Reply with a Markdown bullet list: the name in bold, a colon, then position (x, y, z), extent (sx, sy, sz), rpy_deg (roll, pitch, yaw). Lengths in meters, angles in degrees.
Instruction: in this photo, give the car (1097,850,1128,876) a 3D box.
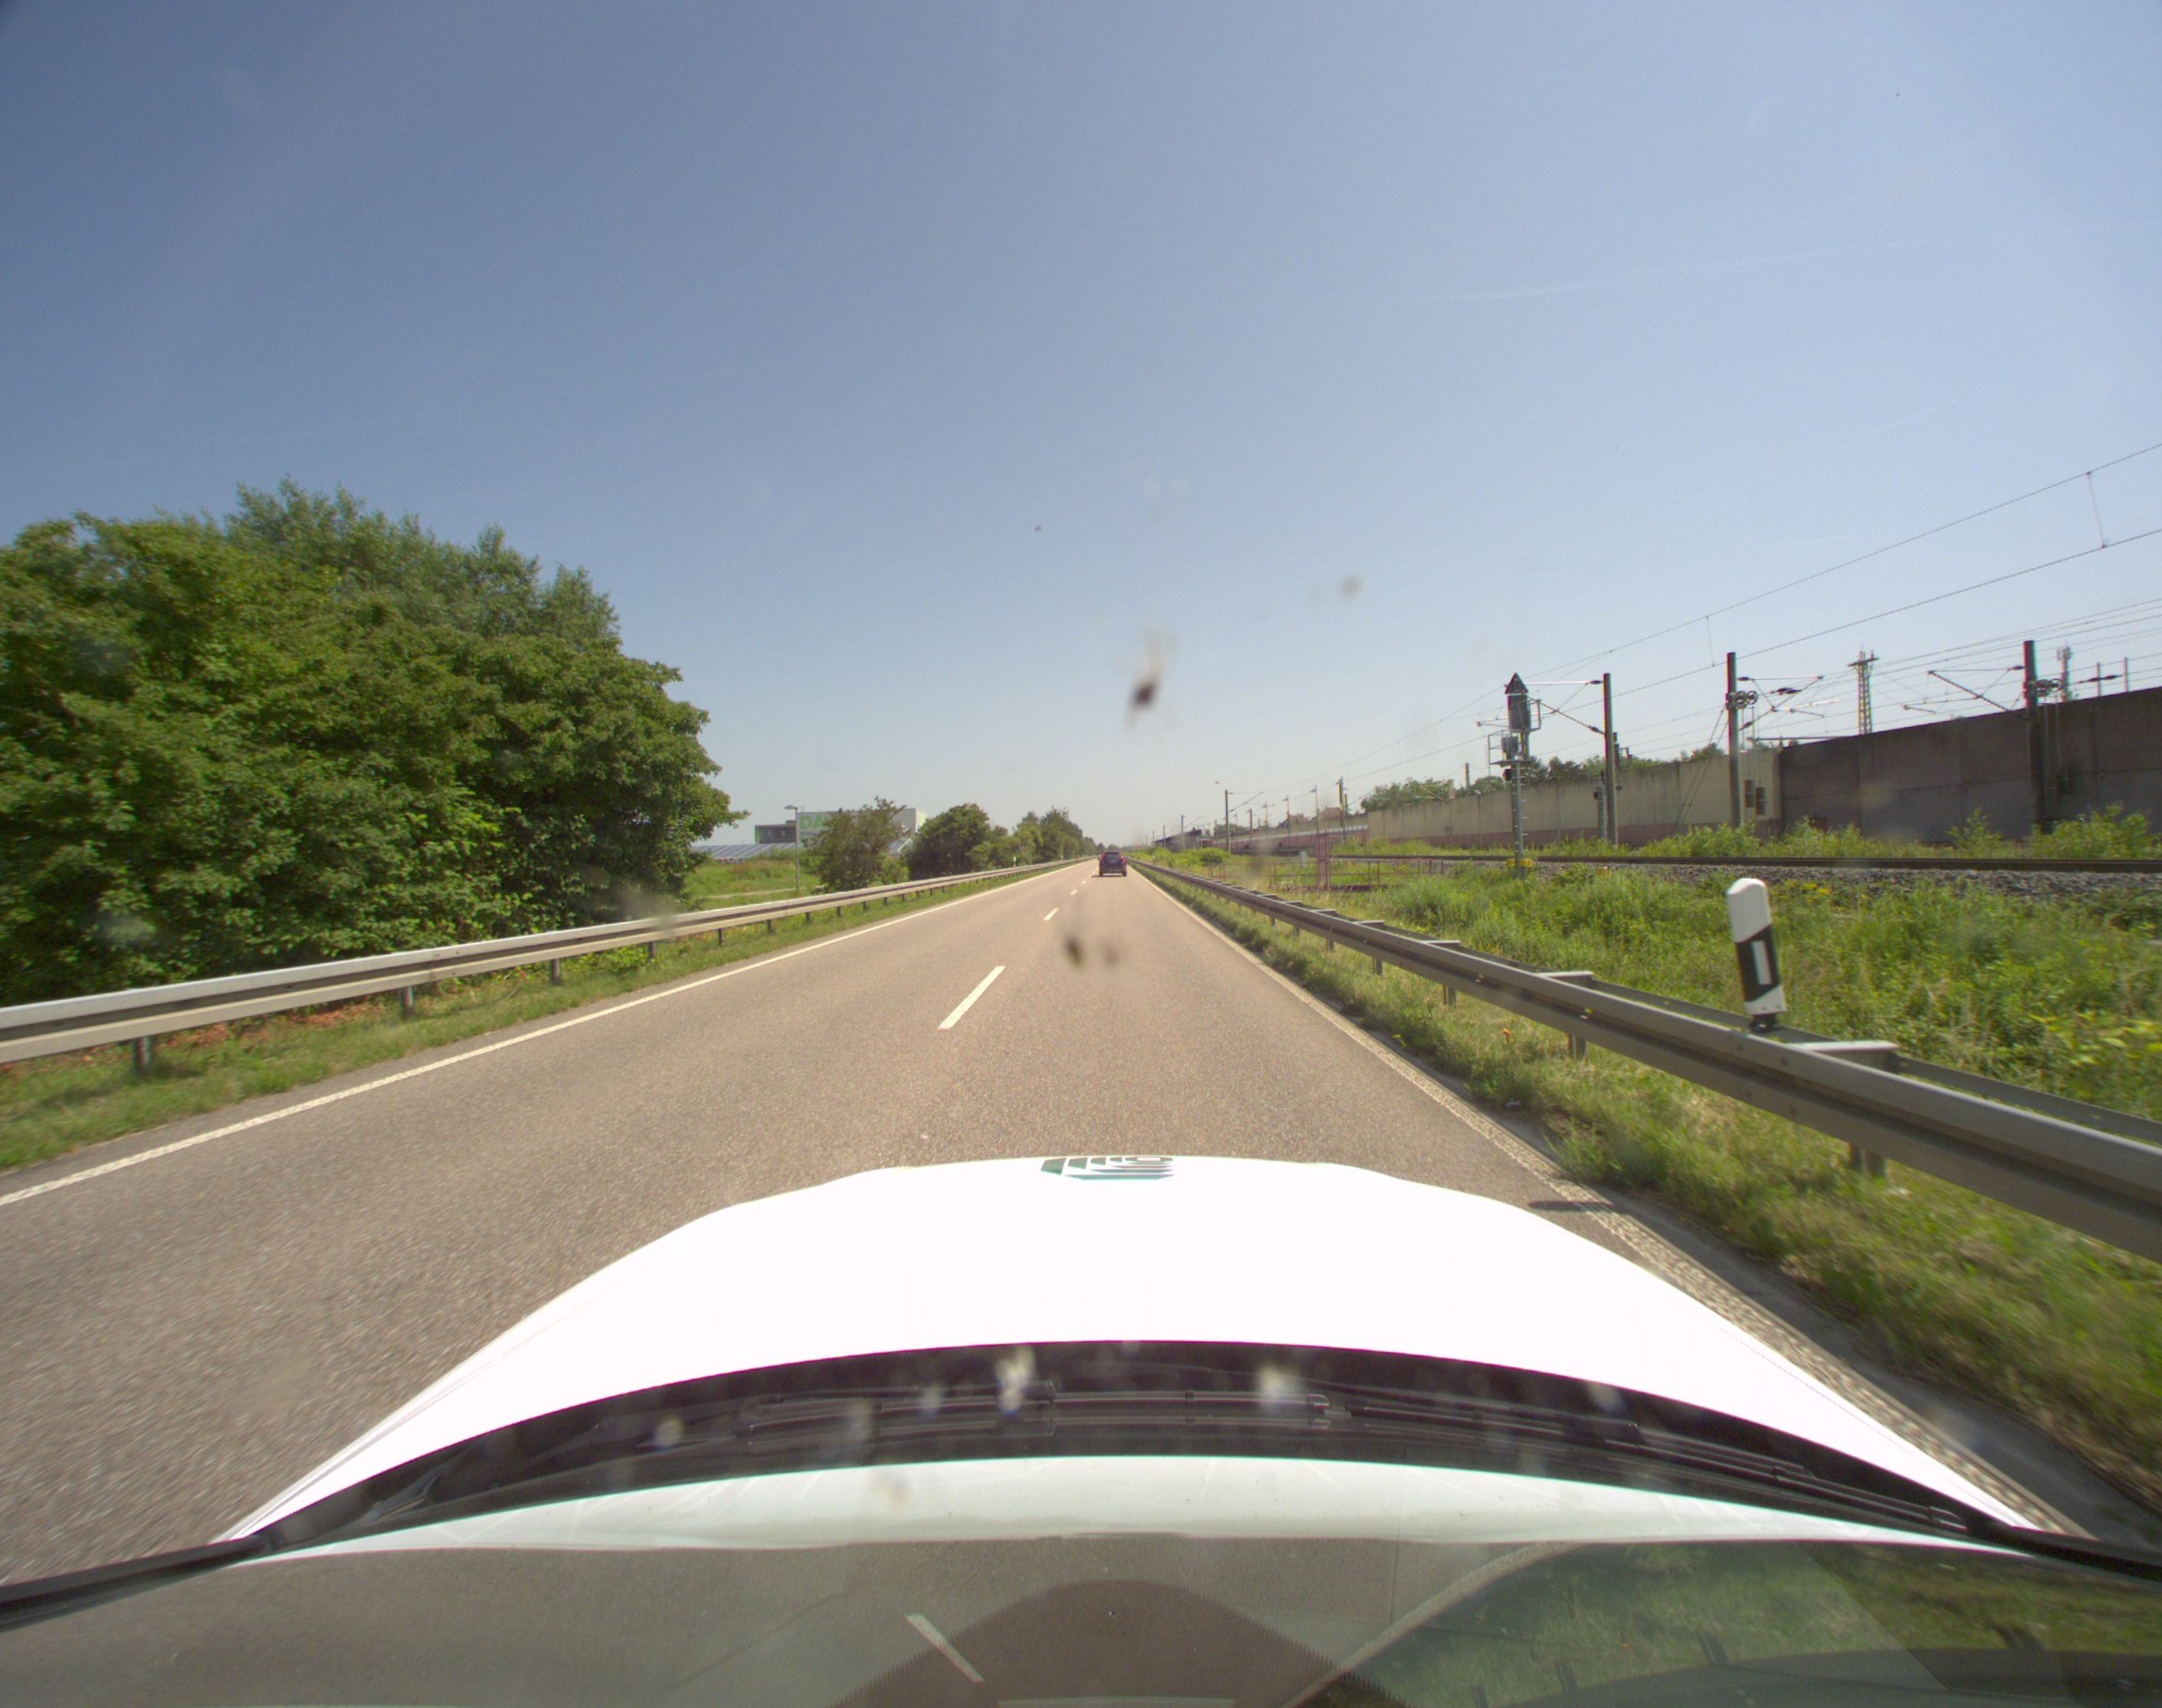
- **car**: position (2.131, 0.624, 56.164), extent (1.987, 1.700, 3.999), rpy_deg (-1, 0, 0)
